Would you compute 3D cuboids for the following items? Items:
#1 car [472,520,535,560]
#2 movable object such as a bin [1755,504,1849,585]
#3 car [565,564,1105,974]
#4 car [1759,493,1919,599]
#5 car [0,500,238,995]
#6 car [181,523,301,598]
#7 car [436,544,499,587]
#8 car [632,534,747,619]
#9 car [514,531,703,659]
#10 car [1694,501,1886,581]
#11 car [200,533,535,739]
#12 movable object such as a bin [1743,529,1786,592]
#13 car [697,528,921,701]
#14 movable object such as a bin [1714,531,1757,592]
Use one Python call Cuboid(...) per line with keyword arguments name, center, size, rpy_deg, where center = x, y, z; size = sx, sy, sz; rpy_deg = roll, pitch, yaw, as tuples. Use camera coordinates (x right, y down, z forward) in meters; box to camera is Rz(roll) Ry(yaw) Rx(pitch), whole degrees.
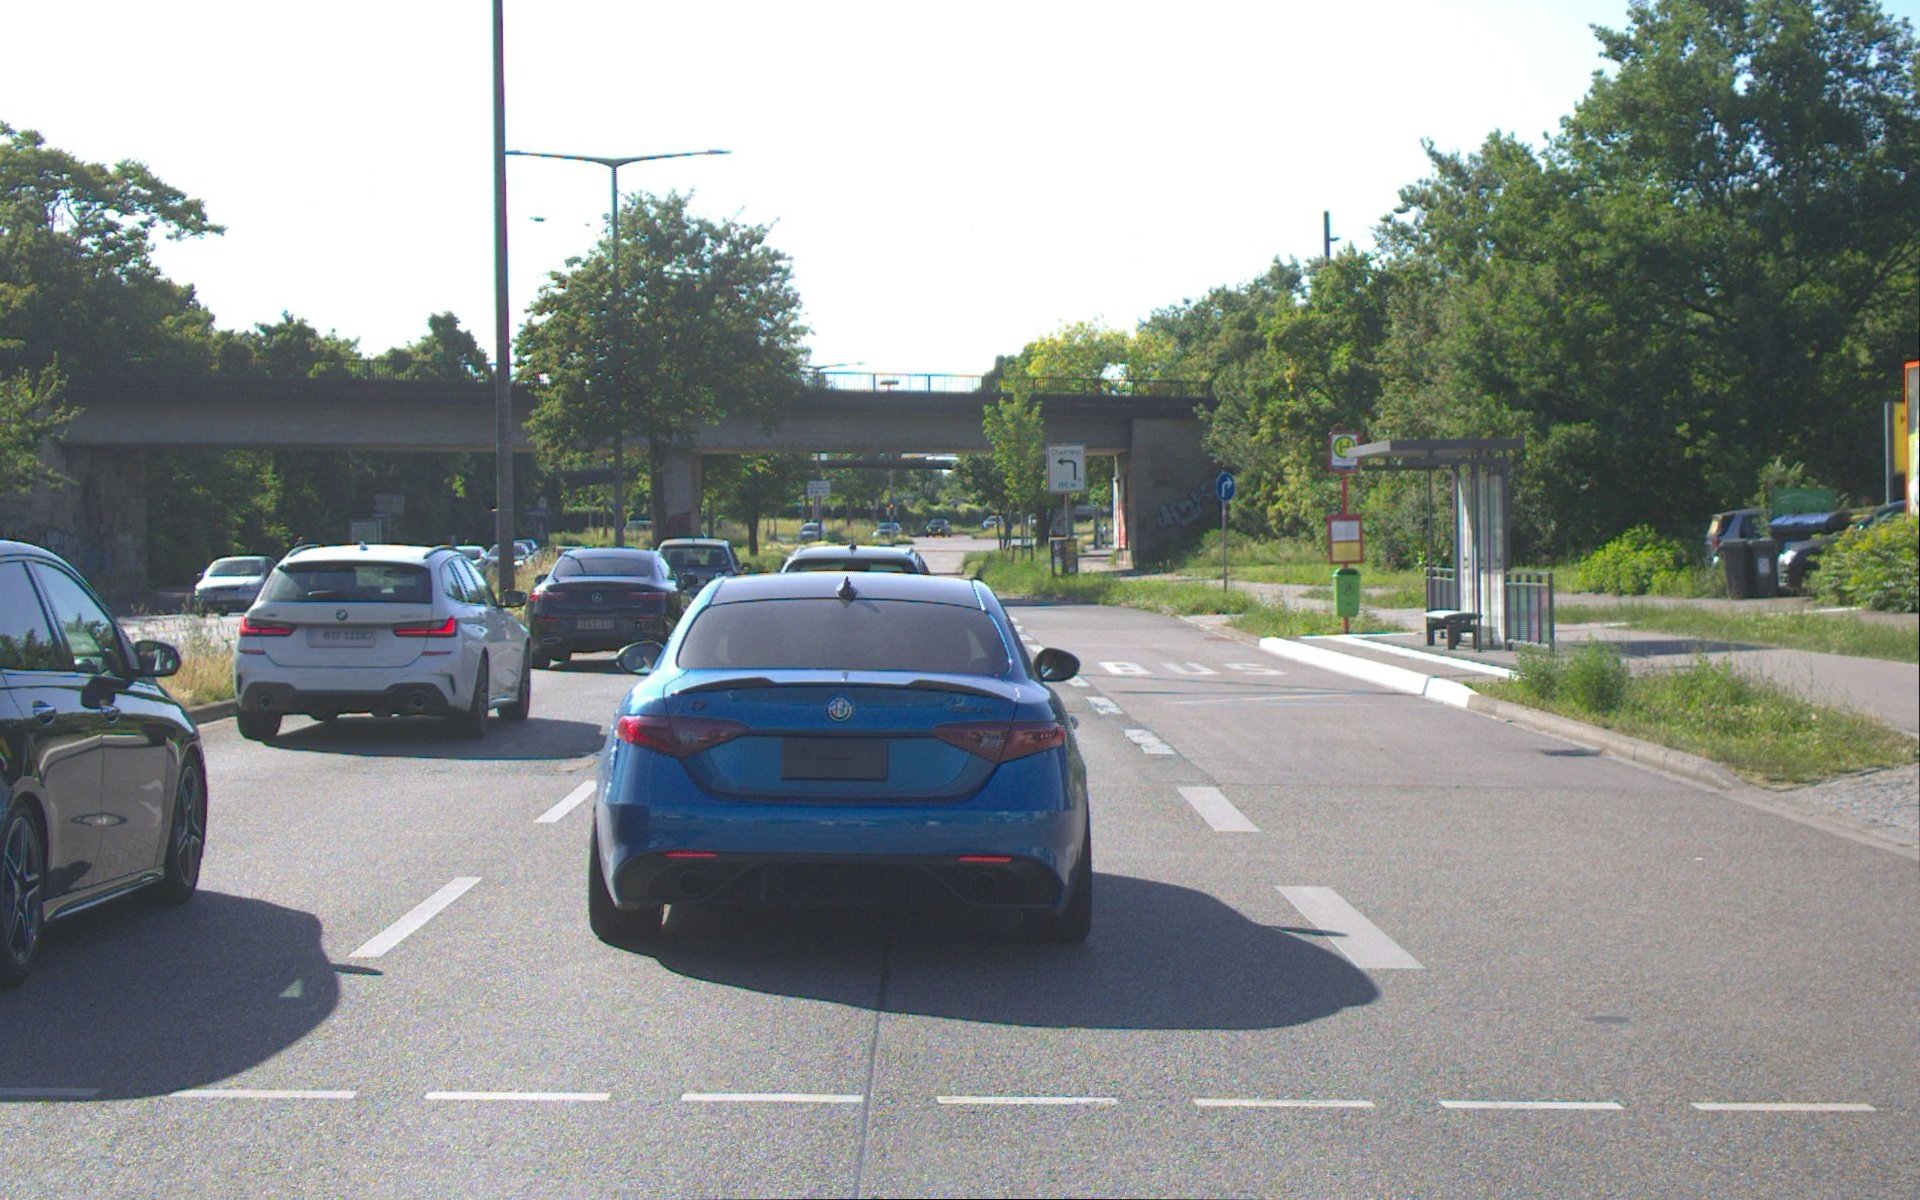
Cuboid(name="car", center=(-17.621, -2.302, 132.775), size=(1.817, 1.430, 4.631), rpy_deg=(-3, 1, -1))
Cuboid(name="movable object such as a bin", center=(14.836, -0.985, 60.570), size=(0.986, 1.423, 1.260), rpy_deg=(-1, 2, -43))
Cuboid(name="car", center=(-0.469, 0.575, 14.224), size=(1.883, 1.401, 4.224), rpy_deg=(1, 1, -1))
Cuboid(name="car", center=(15.936, -0.957, 57.672), size=(4.553, 1.634, 1.799), rpy_deg=(-3, 1, 29))
Cuboid(name="car", center=(-3.953, 0.437, 12.710), size=(1.708, 1.592, 4.224), rpy_deg=(1, 1, -1))
Cuboid(name="car", center=(-17.307, -0.960, 82.945), size=(1.993, 1.678, 4.177), rpy_deg=(-2, 1, -1))
Cuboid(name="car", center=(-17.561, -1.243, 122.712), size=(1.641, 1.446, 4.112), rpy_deg=(-3, 1, -1))
Cuboid(name="car", center=(-4.841, -0.446, 61.990), size=(1.779, 1.449, 4.182), rpy_deg=(-1, 1, -1))
Cuboid(name="car", center=(-4.239, -0.090, 42.030), size=(1.883, 1.449, 4.526), rpy_deg=(1, 1, -1))
Cuboid(name="car", center=(16.036, -1.137, 66.522), size=(3.284, 1.481, 1.772), rpy_deg=(1, 1, 1))
Cuboid(name="car", center=(-4.527, 0.224, 26.909), size=(1.883, 1.449, 4.526), rpy_deg=(1, 1, -1))
Cuboid(name="movable object such as a bin", center=(14.360, -0.711, 61.388), size=(0.580, 1.117, 0.510), rpy_deg=(-1, 1, -42))
Cuboid(name="car", center=(-1.311, 0.087, 31.509), size=(1.883, 1.449, 4.526), rpy_deg=(1, 1, -1))
Cuboid(name="movable object such as a bin", center=(13.915, -0.695, 61.694), size=(0.580, 1.071, 0.510), rpy_deg=(-1, 2, -42))
